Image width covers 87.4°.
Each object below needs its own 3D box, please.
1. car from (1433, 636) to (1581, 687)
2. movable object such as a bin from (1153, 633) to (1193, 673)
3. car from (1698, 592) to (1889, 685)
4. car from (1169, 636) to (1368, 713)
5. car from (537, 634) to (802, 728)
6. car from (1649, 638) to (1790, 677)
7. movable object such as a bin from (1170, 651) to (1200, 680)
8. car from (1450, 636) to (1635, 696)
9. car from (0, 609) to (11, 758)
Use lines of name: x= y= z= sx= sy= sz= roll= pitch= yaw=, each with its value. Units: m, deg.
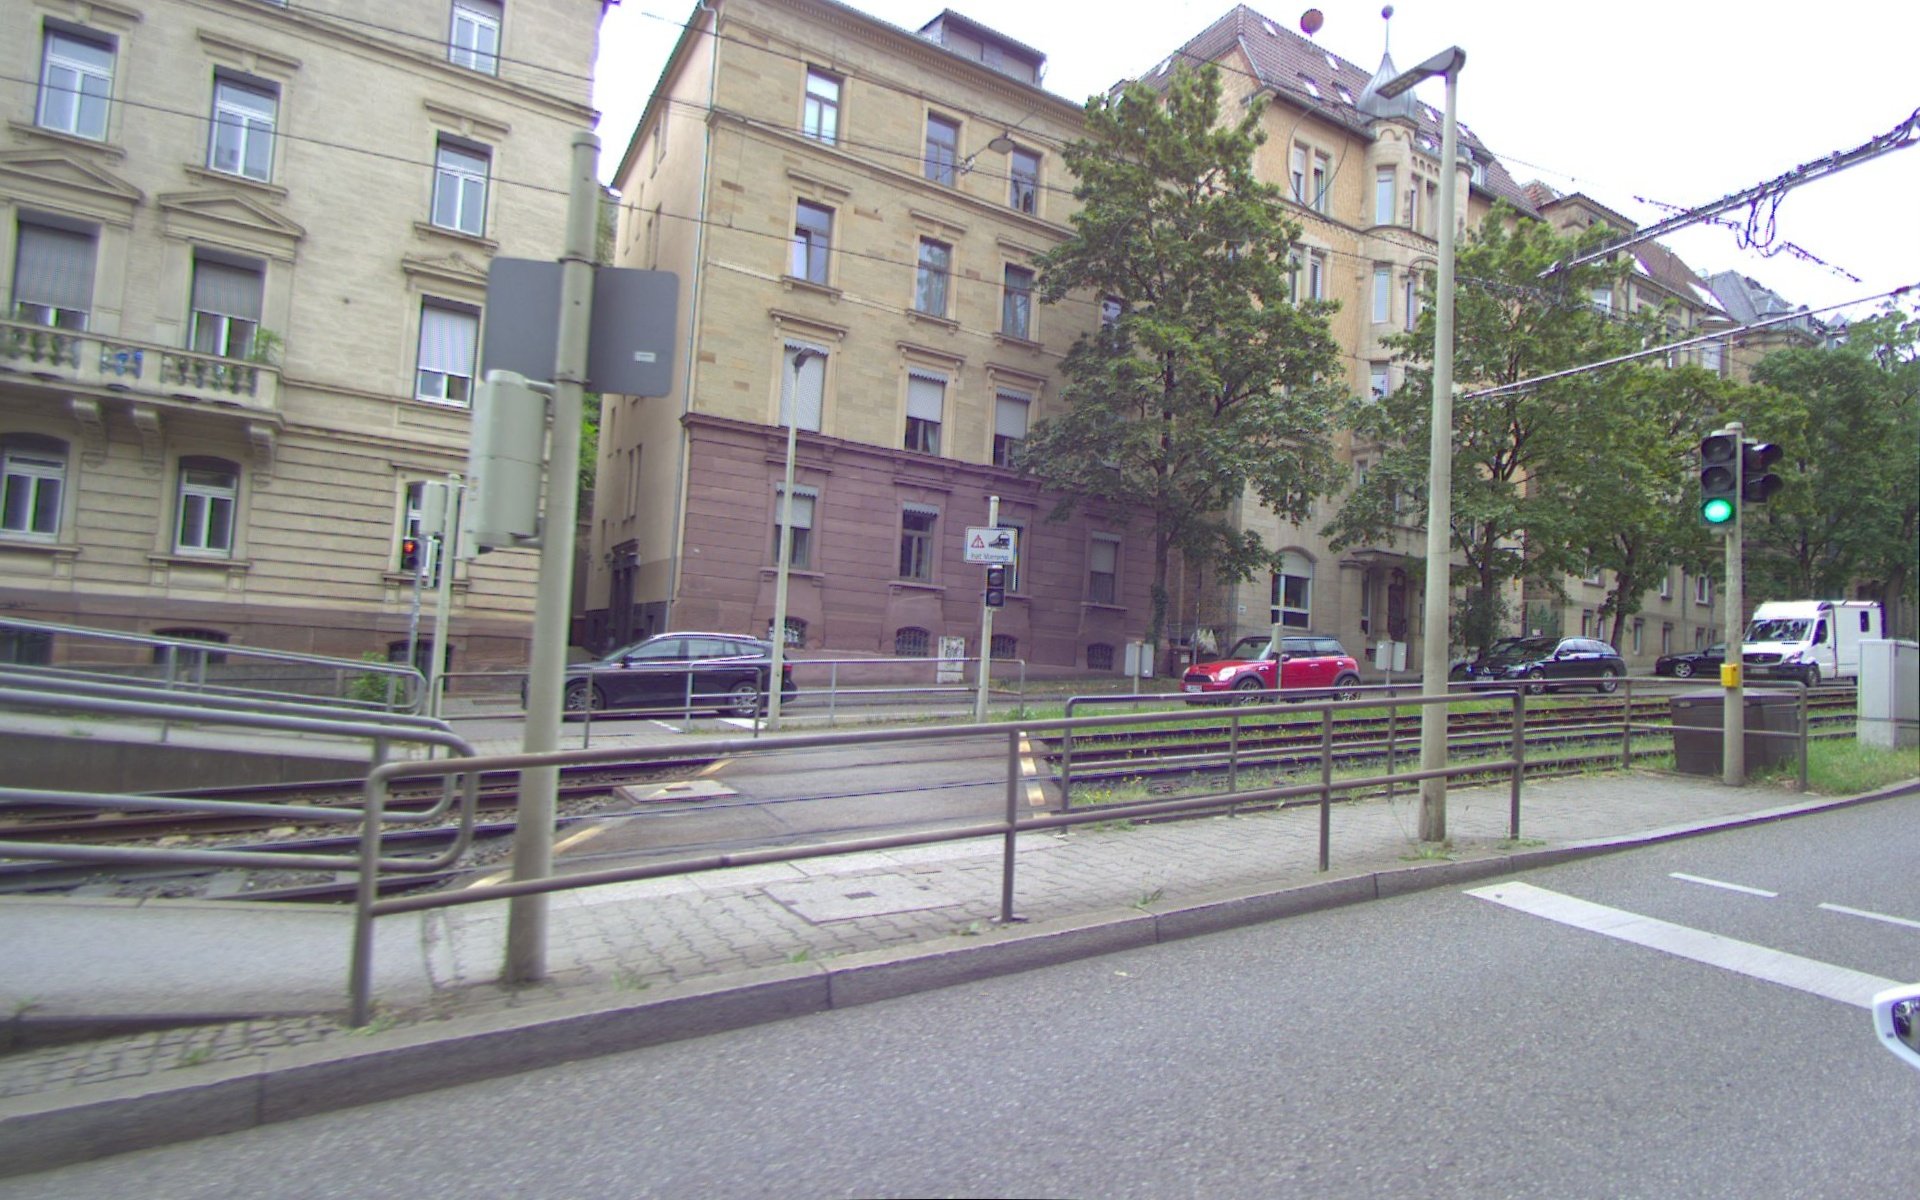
car: x=16.905 y=1.871 z=31.158 sx=3.928 sy=1.441 sz=1.783 roll=-1 pitch=-2 yaw=29
movable object such as a bin: x=6.887 y=1.703 z=32.532 sx=0.904 sy=1.264 sz=0.889 roll=1 pitch=-2 yaw=-27
car: x=26.829 y=1.278 z=32.288 sx=6.436 sy=2.734 sz=2.384 roll=1 pitch=-4 yaw=-28
car: x=6.042 y=1.399 z=19.651 sx=3.605 sy=1.395 sz=1.572 roll=1 pitch=-2 yaw=-25
car: x=-5.011 y=1.341 z=17.479 sx=4.167 sy=1.466 sz=1.671 roll=1 pitch=-3 yaw=-30
car: x=28.802 y=2.147 z=38.260 sx=4.110 sy=1.382 sz=1.709 roll=-1 pitch=-2 yaw=31
movable object such as a bin: x=6.607 y=1.918 z=29.472 sx=0.621 sy=0.847 sz=0.580 roll=1 pitch=-2 yaw=-30
car: x=15.226 y=1.684 z=26.225 sx=4.681 sy=1.447 sz=1.745 roll=1 pitch=-3 yaw=-24
car: x=-12.982 y=0.920 z=10.195 sx=4.522 sy=1.758 sz=1.702 roll=1 pitch=-2 yaw=-30
